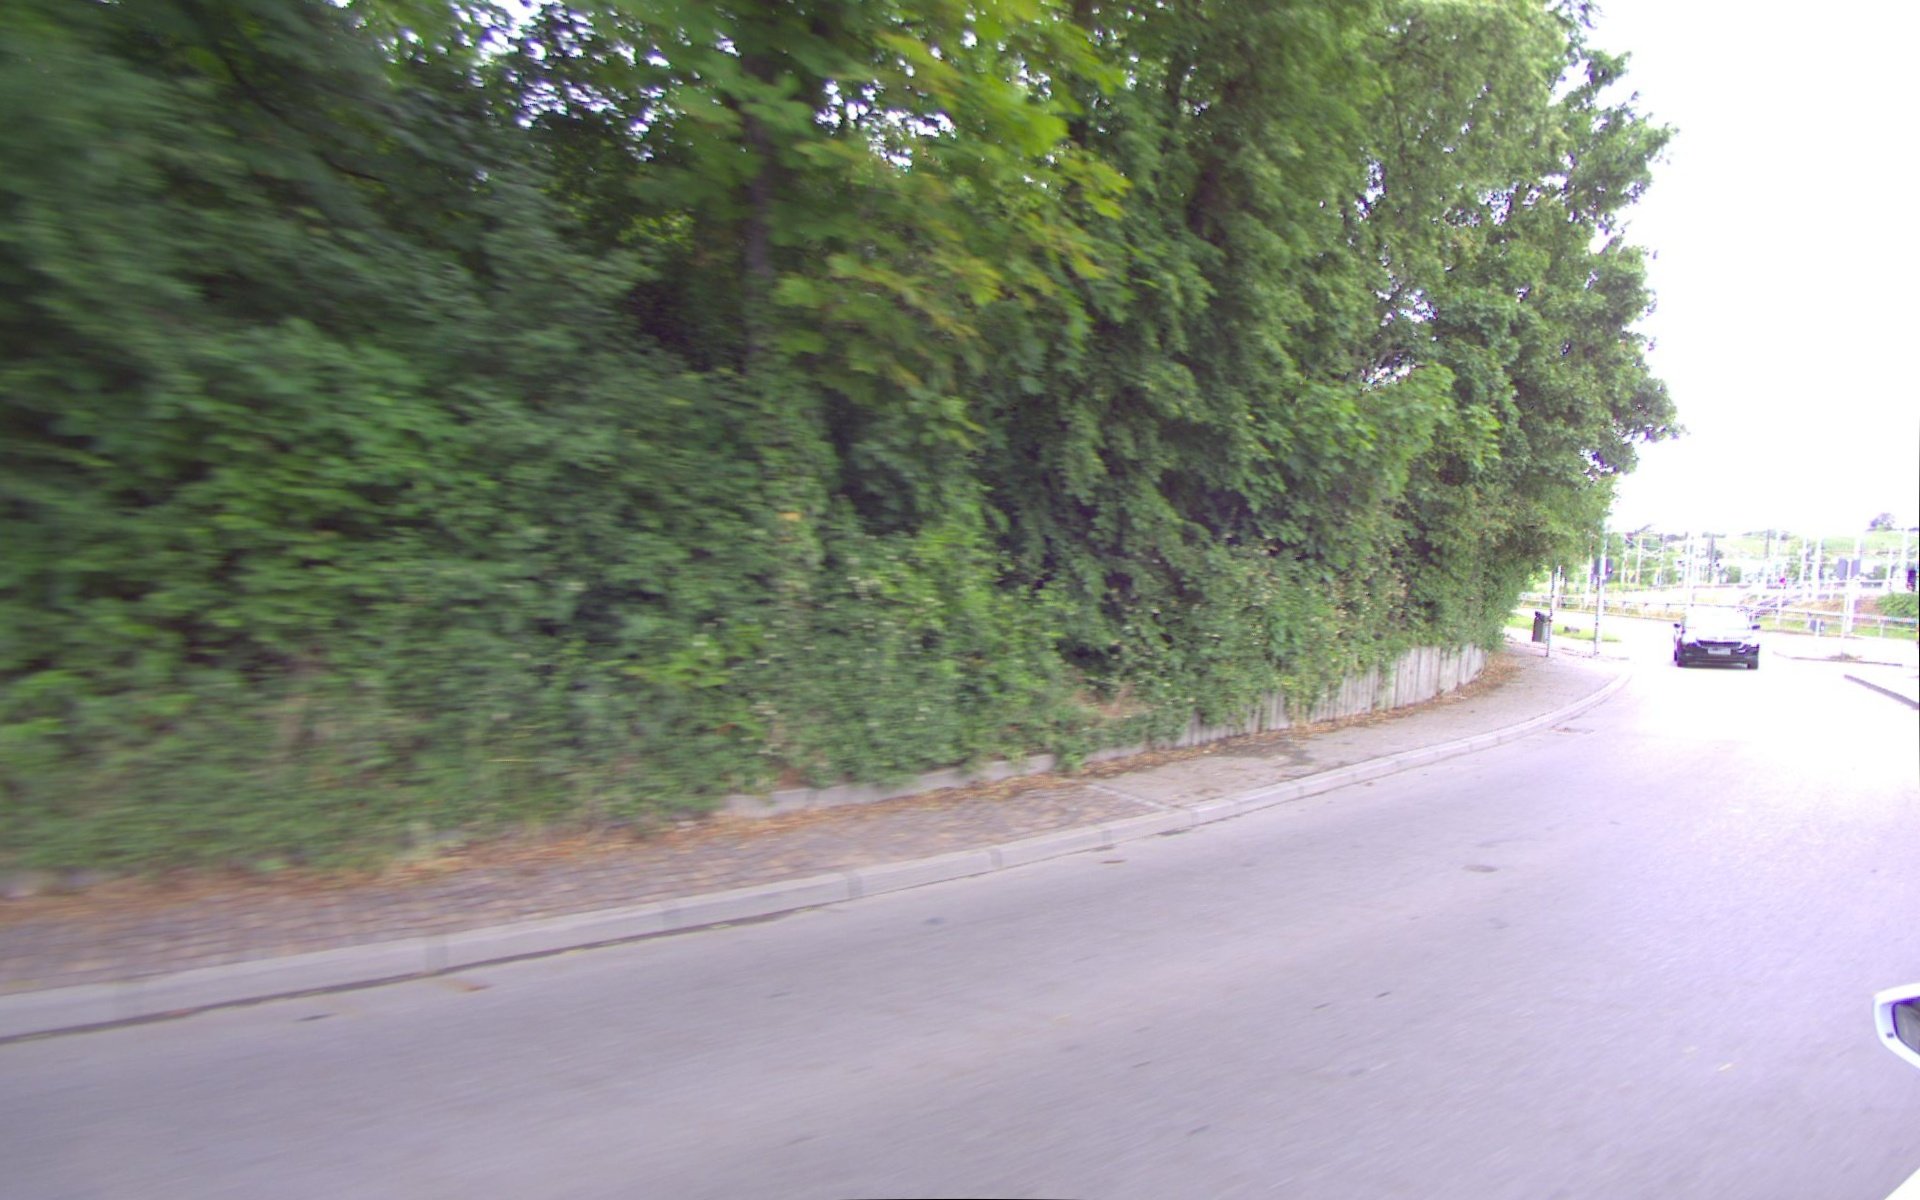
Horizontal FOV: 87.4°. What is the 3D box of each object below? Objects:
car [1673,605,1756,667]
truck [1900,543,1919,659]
[{"bbox_3d":[21.561,0.988,28.777,1.779,1.631,4.161,0,0,36],"label":"car"},{"bbox_3d":[29.225,0.137,28.065,2.726,3.531,8.105,4,3,33],"label":"truck"}]
